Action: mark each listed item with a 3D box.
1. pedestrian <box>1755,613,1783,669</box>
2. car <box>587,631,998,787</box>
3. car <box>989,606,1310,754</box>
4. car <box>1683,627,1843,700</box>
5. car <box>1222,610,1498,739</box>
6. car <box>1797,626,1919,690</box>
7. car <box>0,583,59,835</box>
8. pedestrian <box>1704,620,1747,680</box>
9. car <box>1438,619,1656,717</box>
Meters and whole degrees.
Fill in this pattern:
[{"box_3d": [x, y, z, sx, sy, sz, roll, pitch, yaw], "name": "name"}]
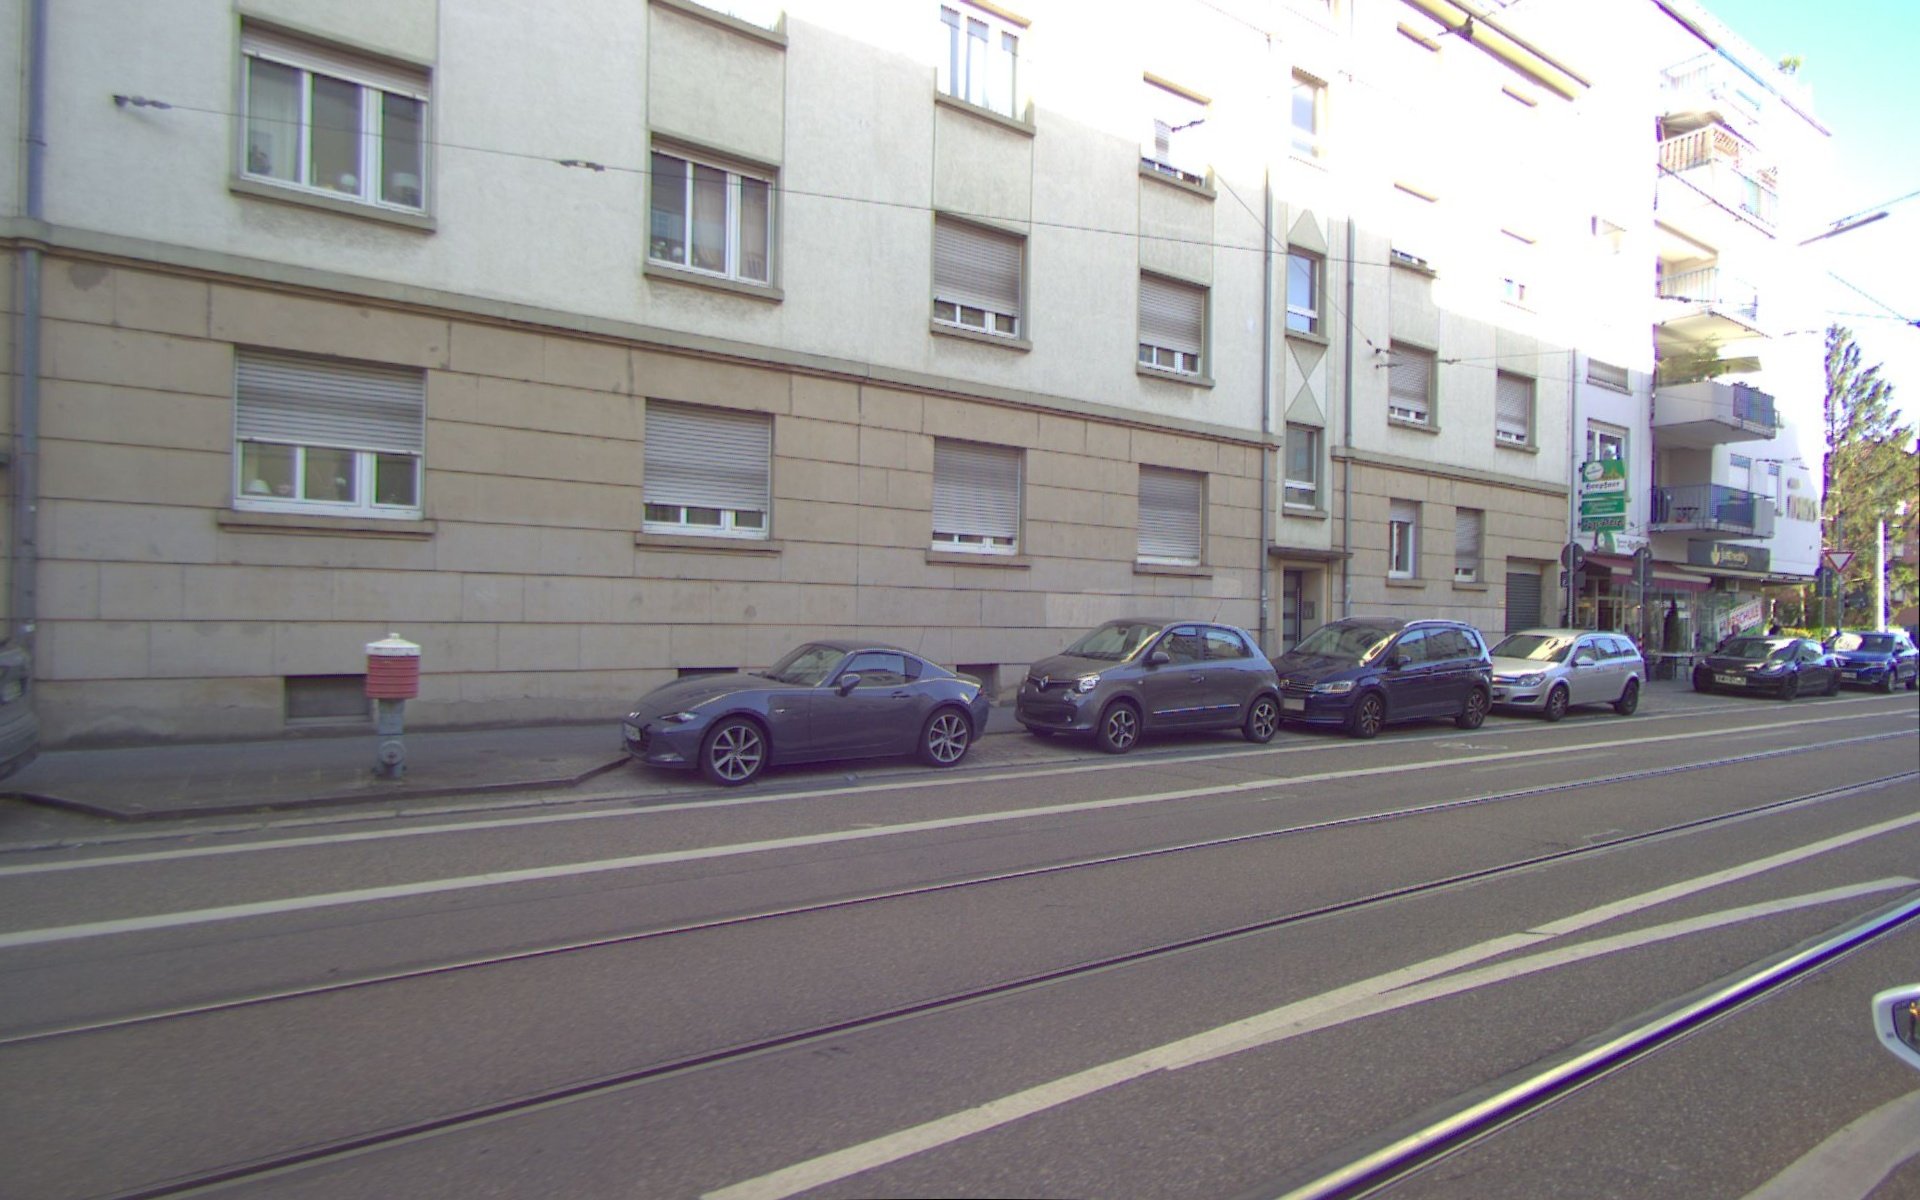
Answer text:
[{"box_3d": [29.781, 1.498, 36.972, 0.481, 2.040, 0.682, 1, 0, -35], "name": "pedestrian"}, {"box_3d": [-1.629, 1.001, 10.220, 3.747, 1.232, 1.688, 2, 0, -35], "name": "car"}, {"box_3d": [2.498, 0.958, 12.936, 3.957, 1.590, 1.689, 2, 0, -33], "name": "car"}, {"box_3d": [19.252, 1.502, 24.039, 4.266, 1.529, 1.689, 2, 0, -33], "name": "car"}, {"box_3d": [6.042, 1.056, 15.038, 4.198, 1.637, 1.689, 2, 0, -33], "name": "car"}, {"box_3d": [24.317, 1.530, 27.147, 3.964, 1.529, 1.731, 2, 0, -38], "name": "car"}, {"box_3d": [-8.183, 0.640, 5.664, 4.358, 1.588, 1.689, 1, -1, -33], "name": "car"}, {"box_3d": [20.427, 1.320, 26.808, 0.713, 1.569, 0.694, 1, 0, -30], "name": "pedestrian"}, {"box_3d": [10.757, 1.202, 18.317, 4.341, 1.529, 1.689, 2, 0, -34], "name": "car"}]
